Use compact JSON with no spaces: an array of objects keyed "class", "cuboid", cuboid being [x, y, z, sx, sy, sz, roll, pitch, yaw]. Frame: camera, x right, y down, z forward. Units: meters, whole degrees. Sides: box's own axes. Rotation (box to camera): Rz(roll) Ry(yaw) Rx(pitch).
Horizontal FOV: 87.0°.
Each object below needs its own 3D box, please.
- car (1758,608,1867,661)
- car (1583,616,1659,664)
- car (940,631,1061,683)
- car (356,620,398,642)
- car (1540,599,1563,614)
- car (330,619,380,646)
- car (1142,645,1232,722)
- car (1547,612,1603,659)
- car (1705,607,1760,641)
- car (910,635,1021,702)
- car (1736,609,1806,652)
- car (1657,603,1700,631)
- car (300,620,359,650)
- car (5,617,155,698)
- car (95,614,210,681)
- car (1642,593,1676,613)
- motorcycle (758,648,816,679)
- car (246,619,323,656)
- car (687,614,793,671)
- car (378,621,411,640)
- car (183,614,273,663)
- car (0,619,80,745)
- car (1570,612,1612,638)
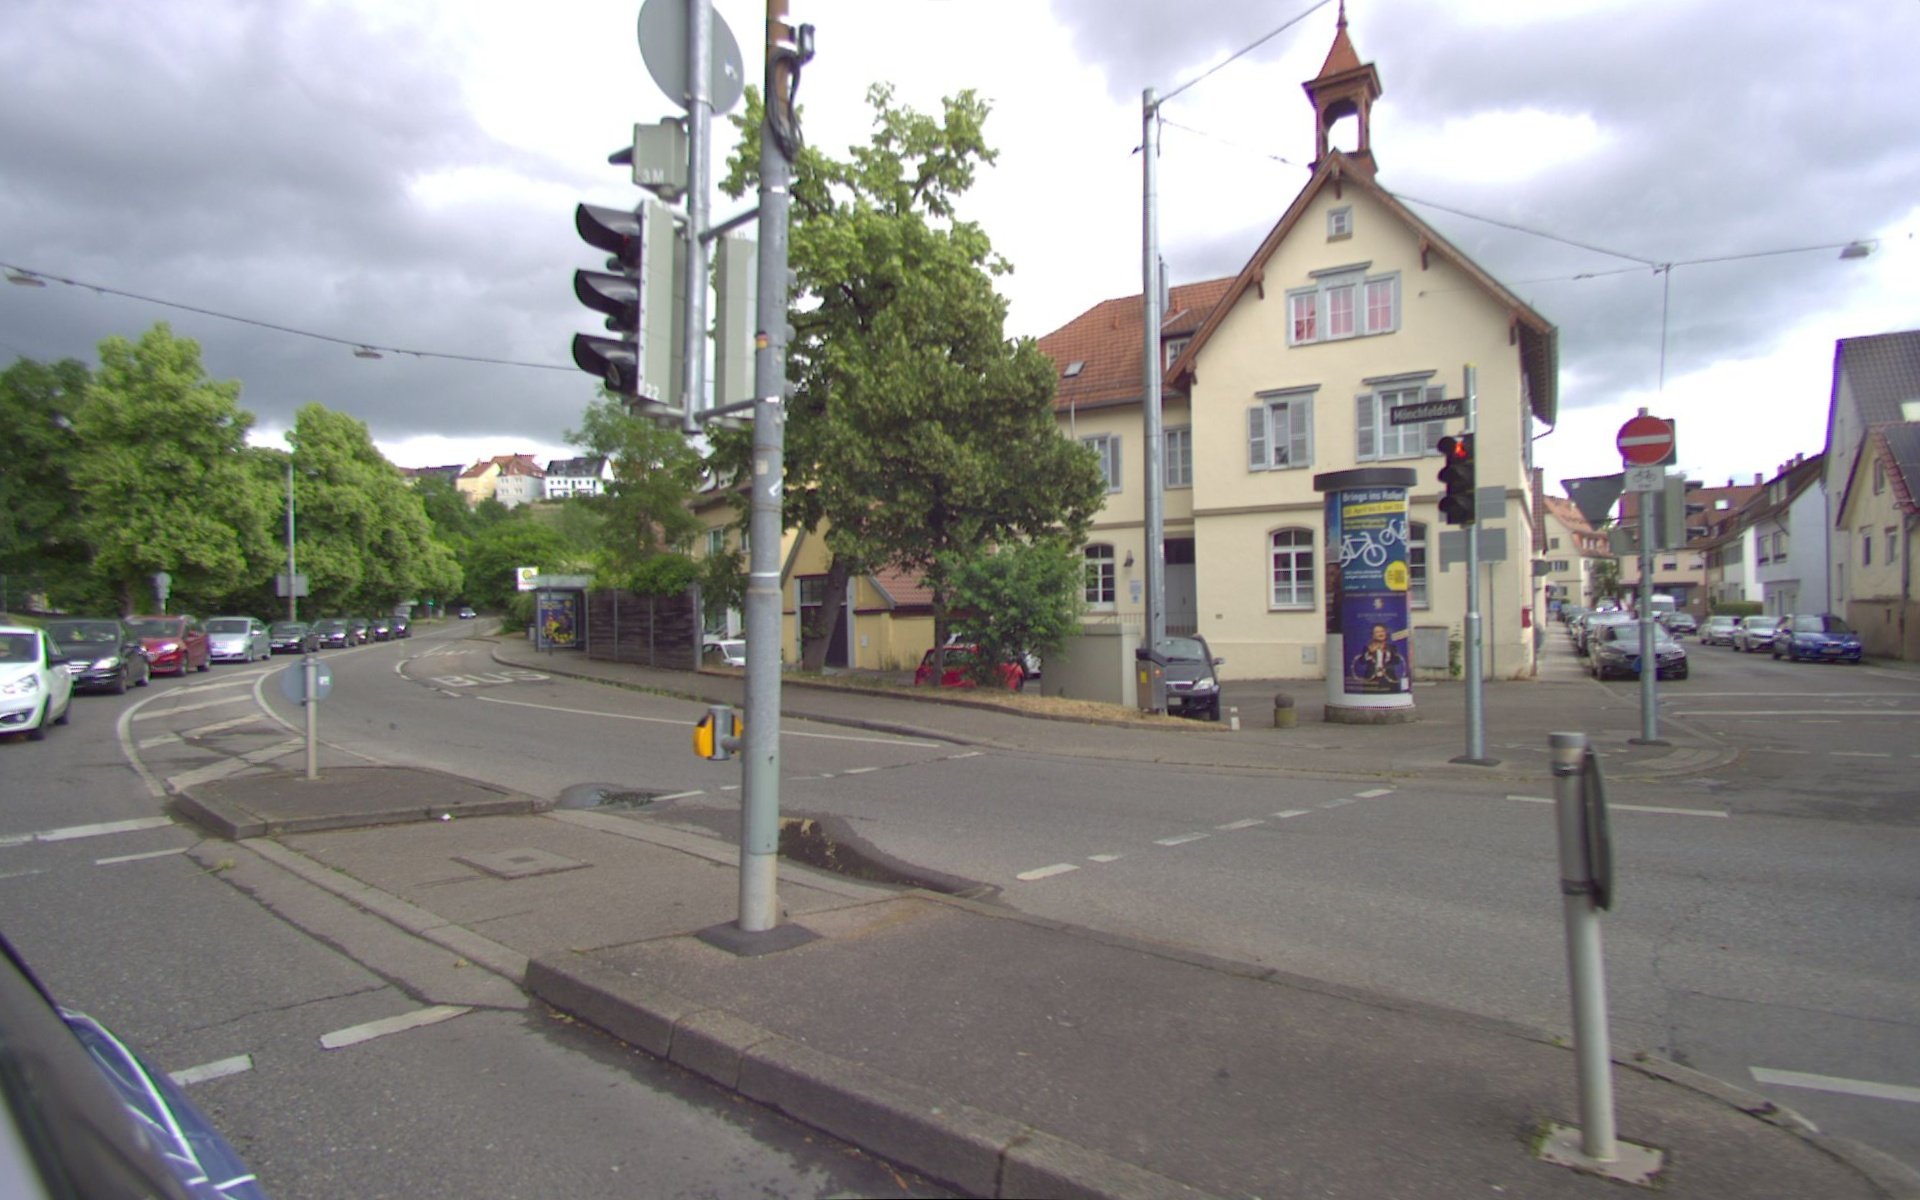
[{"class":"car","cuboid":[26.809,1.043,31.957,1.819,1.526,3.635,-1,-1,27]},{"class":"car","cuboid":[19.953,1.156,30.654,1.705,1.325,3.824,-1,-1,30]},{"class":"car","cuboid":[1.269,1.761,31.832,3.465,1.503,1.638,-1,-1,28]},{"class":"car","cuboid":[-35.319,1.867,61.384,1.617,1.279,3.637,0,-1,-20]},{"class":"car","cuboid":[61.736,0.731,105.712,1.819,1.526,3.635,-1,-1,27]},{"class":"car","cuboid":[-33.542,1.774,56.198,1.679,1.457,3.879,0,-1,-20]},{"class":"car","cuboid":[4.447,1.547,19.541,1.471,1.320,3.381,-1,-2,16]},{"class":"car","cuboid":[23.995,1.353,39.593,1.739,1.696,3.804,-1,-1,30]},{"class":"car","cuboid":[37.159,1.131,48.762,1.761,1.565,3.672,-1,-1,33]},{"class":"car","cuboid":[0.207,1.545,23.829,1.587,1.364,3.607,0,-1,18]},{"class":"car","cuboid":[32.086,1.177,40.123,1.761,1.565,3.672,-1,-1,33]},{"class":"car","cuboid":[47.174,1.117,66.498,1.993,1.763,3.957,-1,-1,32]},{"class":"car","cuboid":[-31.055,1.689,49.968,1.669,1.422,3.995,0,-1,-20]},{"class":"car","cuboid":[-18.678,1.147,21.663,1.702,1.532,4.012,0,-1,-30]},{"class":"car","cuboid":[-21.741,1.210,27.401,1.647,1.654,4.114,0,-1,-27]},{"class":"car","cuboid":[56.599,0.238,81.991,1.819,1.589,3.635,-1,-1,27]},{"class":"motorcycle","cuboid":[-4.860,1.777,28.472,1.557,0.830,0.420,0,-1,-33]},{"class":"car","cuboid":[-28.856,1.564,43.380,1.823,1.468,4.013,0,-1,-20]},{"class":"car","cuboid":[-6.939,1.281,31.645,1.870,1.640,4.010,0,-1,-34]},{"class":"car","cuboid":[-37.741,2.014,67.584,1.396,1.259,3.306,0,-1,-20]},{"class":"car","cuboid":[-25.366,1.294,35.197,1.753,1.580,4.013,0,-1,-24]},{"class":"car","cuboid":[-13.199,1.034,13.691,1.602,1.520,4.009,0,-1,-36]},{"class":"car","cuboid":[37.669,1.472,60.470,1.819,1.526,3.635,-1,-1,27]}]
